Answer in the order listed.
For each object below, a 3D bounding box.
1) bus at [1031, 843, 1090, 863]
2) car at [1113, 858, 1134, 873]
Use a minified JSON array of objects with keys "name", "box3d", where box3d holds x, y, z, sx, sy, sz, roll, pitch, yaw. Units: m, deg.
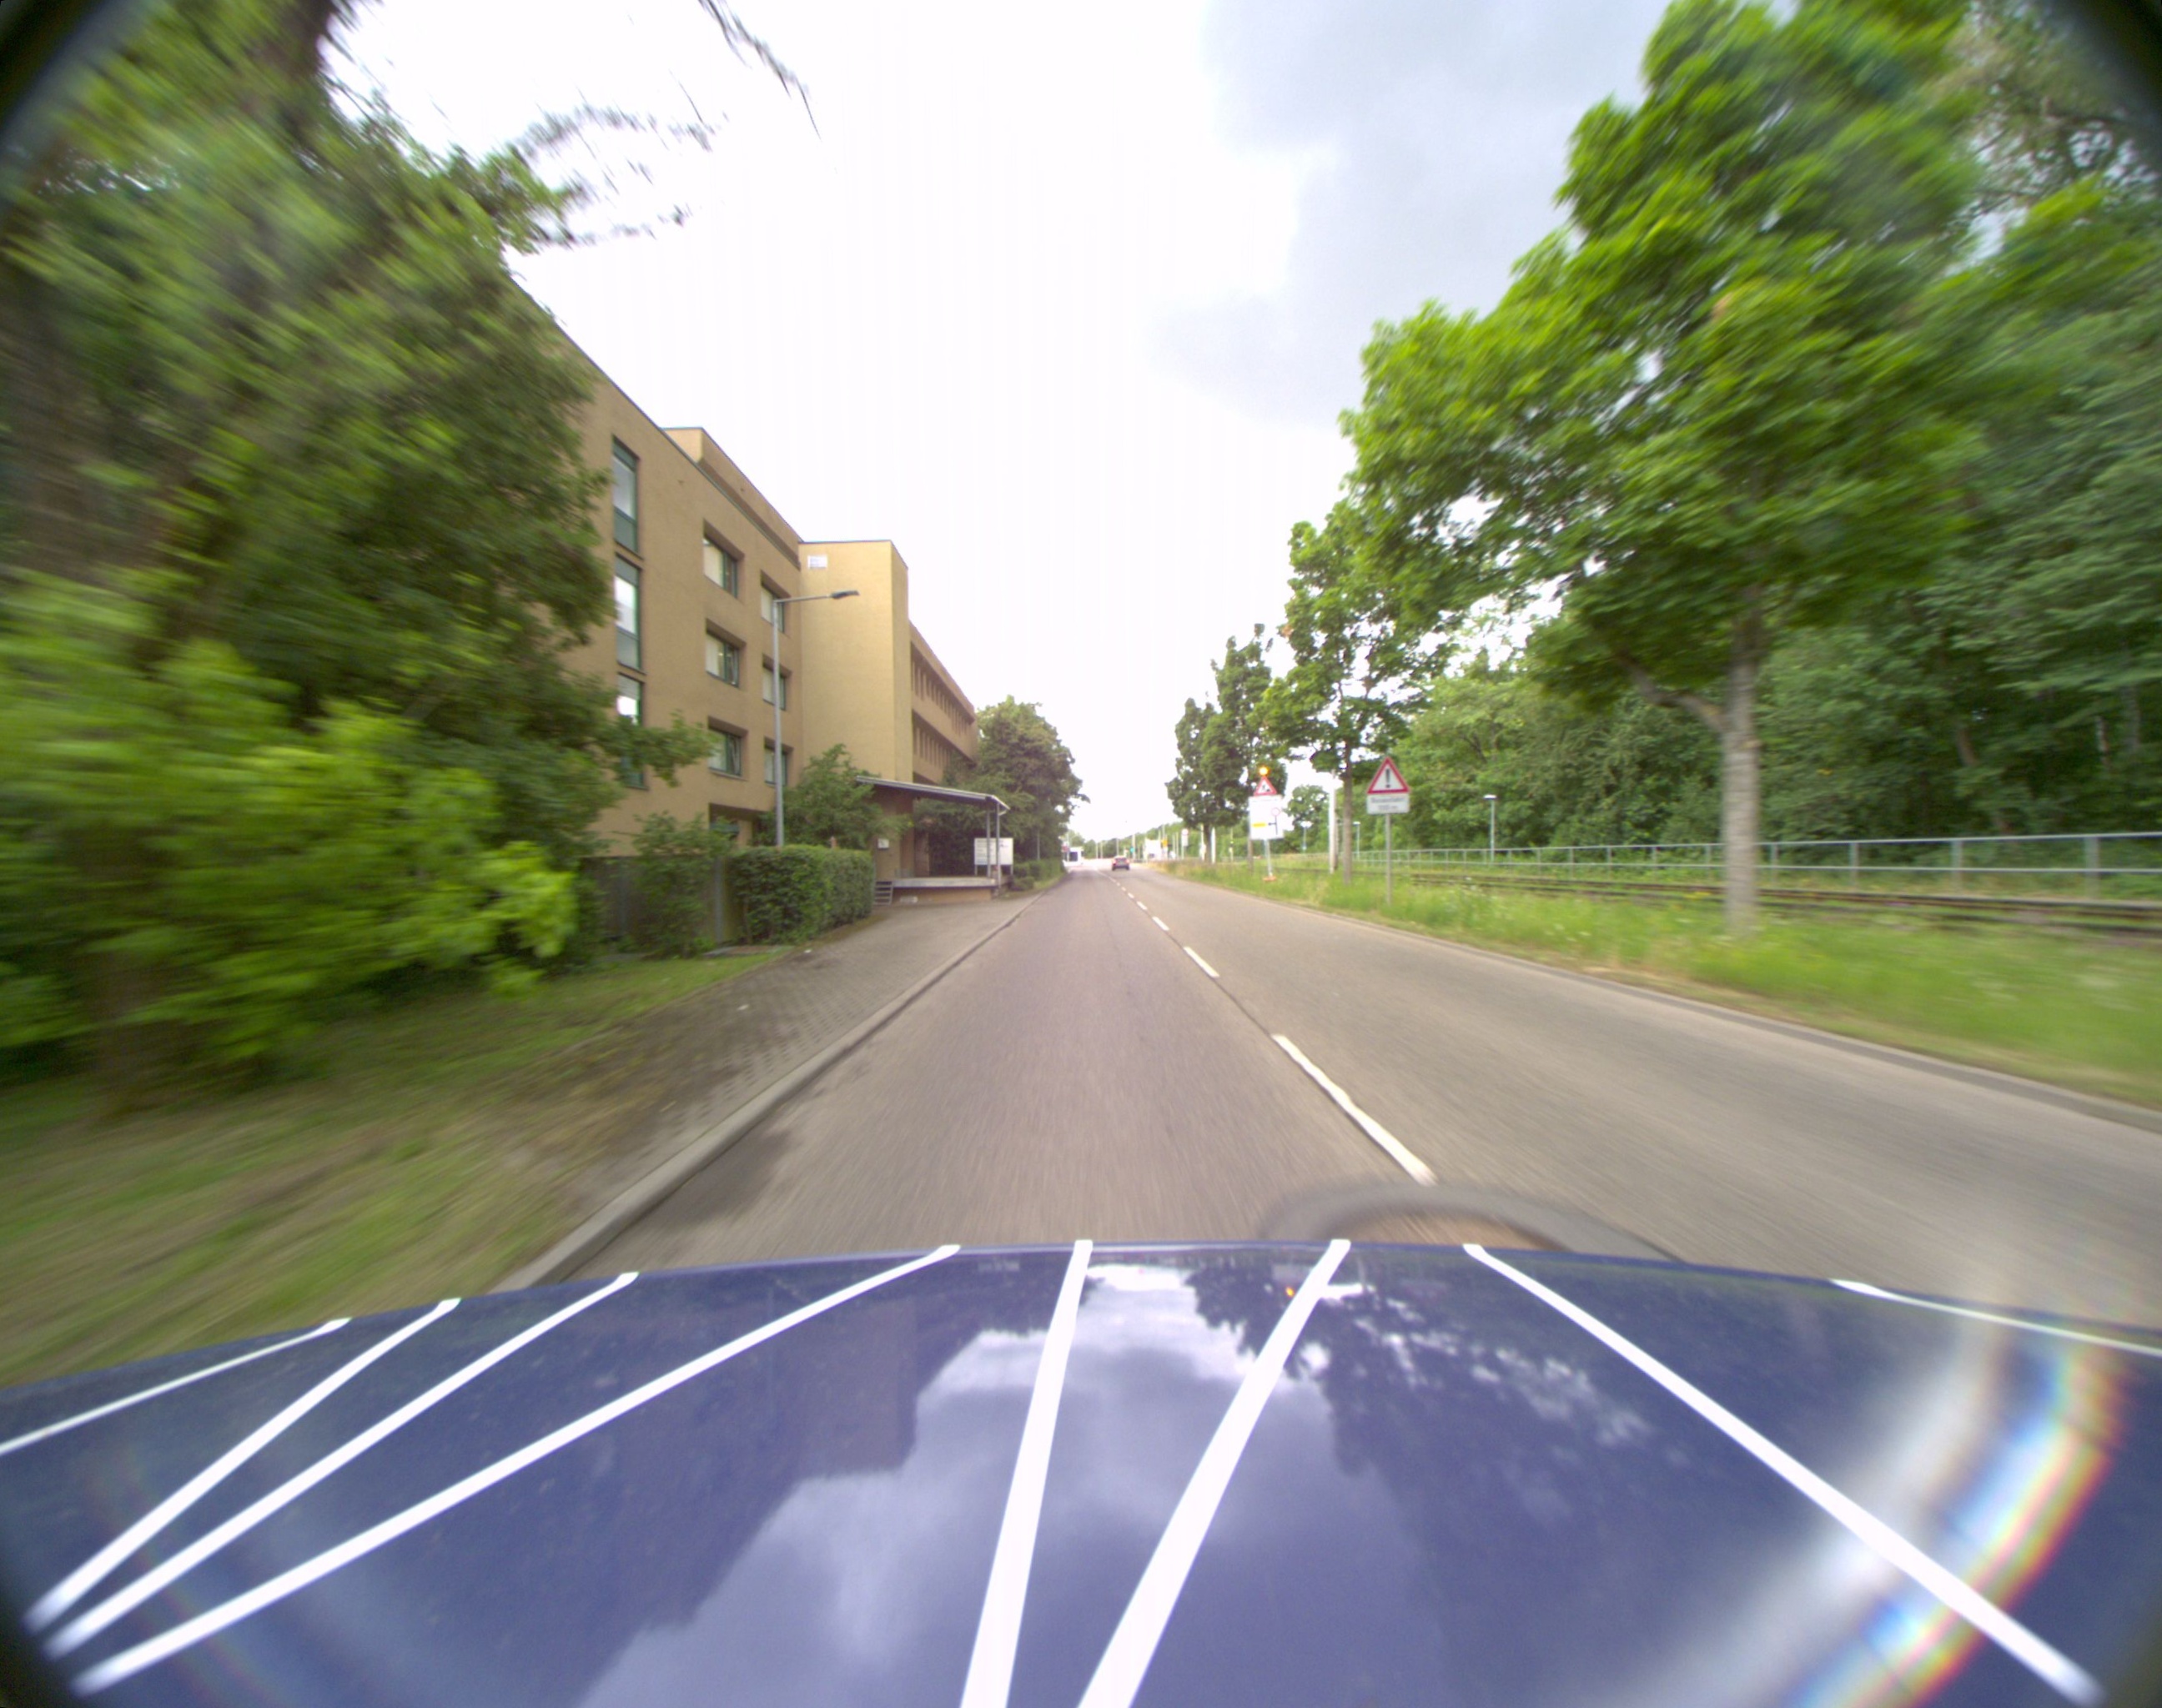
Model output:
[{"name":"bus","box3d":[-3.612,-0.088,132.052,9.855,3.049,3.174,-3,0,27]},{"name":"car","box3d":[4.455,1.220,80.415,2.038,1.508,3.654,-2,0,1]}]
